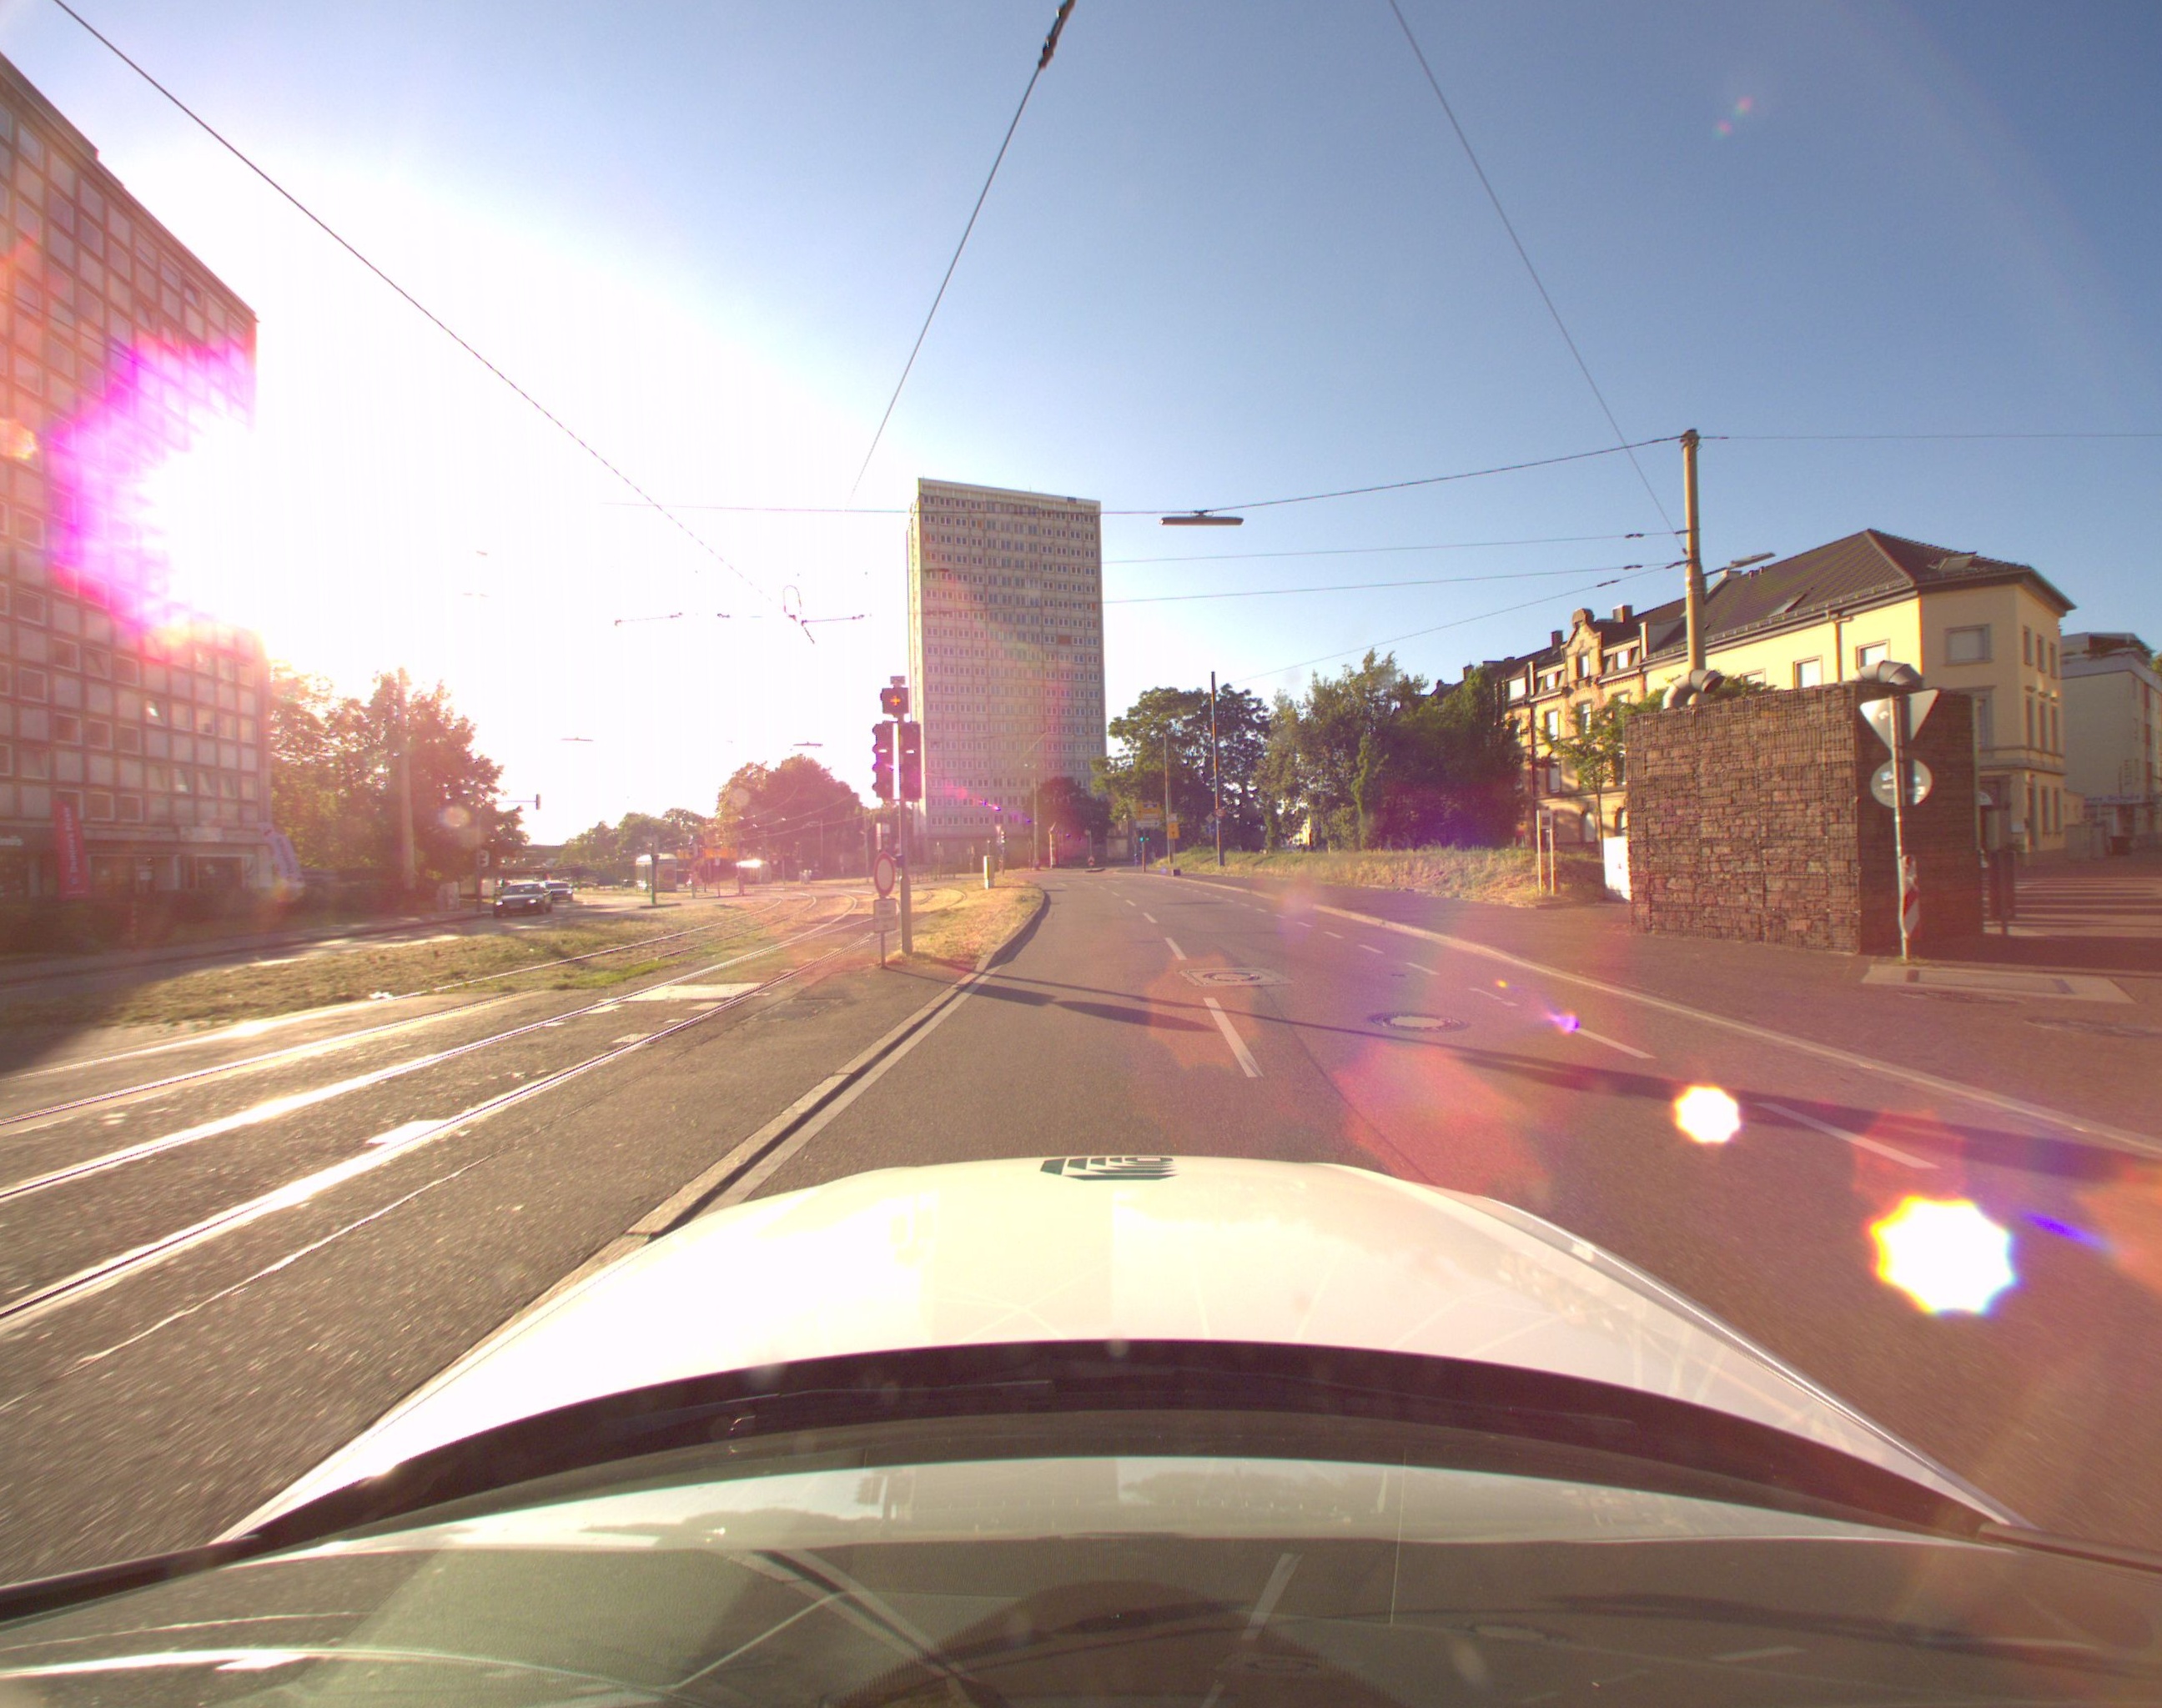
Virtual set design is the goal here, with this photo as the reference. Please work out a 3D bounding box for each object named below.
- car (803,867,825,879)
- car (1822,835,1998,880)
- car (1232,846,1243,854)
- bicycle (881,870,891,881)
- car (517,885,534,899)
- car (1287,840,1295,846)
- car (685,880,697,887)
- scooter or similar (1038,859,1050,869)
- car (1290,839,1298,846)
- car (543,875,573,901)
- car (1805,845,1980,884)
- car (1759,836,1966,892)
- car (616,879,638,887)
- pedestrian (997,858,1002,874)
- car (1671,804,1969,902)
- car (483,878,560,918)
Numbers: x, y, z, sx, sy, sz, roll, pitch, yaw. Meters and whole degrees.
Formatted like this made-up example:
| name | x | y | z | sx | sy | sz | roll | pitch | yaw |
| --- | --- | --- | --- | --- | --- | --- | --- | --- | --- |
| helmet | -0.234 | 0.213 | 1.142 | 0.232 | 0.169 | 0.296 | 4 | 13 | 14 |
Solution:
| name | x | y | z | sx | sy | sz | roll | pitch | yaw |
| --- | --- | --- | --- | --- | --- | --- | --- | --- | --- |
| car | -34.250 | 2.457 | 104.428 | 1.784 | 1.422 | 3.817 | -2 | 0 | -31 |
| car | 27.478 | 0.137 | 27.105 | 1.787 | 1.373 | 3.847 | -2 | 0 | -36 |
| car | 33.783 | -0.839 | 175.480 | 1.859 | 1.458 | 3.804 | -3 | 1 | 16 |
| bicycle | -18.304 | 1.989 | 76.425 | 0.552 | 0.917 | 1.741 | -4 | 0 | -3 |
| car | -70.822 | 4.835 | 103.828 | 1.703 | 1.530 | 3.661 | -2 | 0 | -35 |
| car | 57.109 | -2.988 | 221.302 | 1.844 | 1.543 | 4.018 | -3 | 0 | 17 |
| car | -78.254 | 5.904 | 163.380 | 1.527 | 1.387 | 3.326 | -1 | 0 | -36 |
| scooter or similar | -4.627 | 1.292 | 101.731 | 1.300 | 1.170 | 0.325 | -3 | 0 | -18 |
| car | 54.198 | -2.880 | 207.139 | 1.844 | 1.543 | 3.896 | -3 | 0 | 17 |
| car | -36.206 | 2.329 | 56.382 | 1.663 | 1.596 | 4.538 | -2 | -1 | -33 |
| car | 25.458 | 0.353 | 25.664 | 1.714 | 1.090 | 3.666 | -2 | 0 | -36 |
| car | 21.533 | 0.293 | 22.574 | 1.787 | 1.373 | 3.847 | -2 | 0 | -36 |
| car | -125.015 | 7.937 | 224.231 | 4.862 | 2.013 | 1.987 | -1 | 0 | -20 |
| pedestrian | -8.353 | 1.232 | 83.581 | 0.436 | 1.612 | 0.628 | -3 | 0 | -8 |
| car | 18.840 | 0.013 | 21.079 | 2.052 | 2.214 | 5.355 | -2 | 0 | -36 |
| car | -24.965 | 1.928 | 36.500 | 1.783 | 1.481 | 4.367 | -4 | 0 | -22 |
